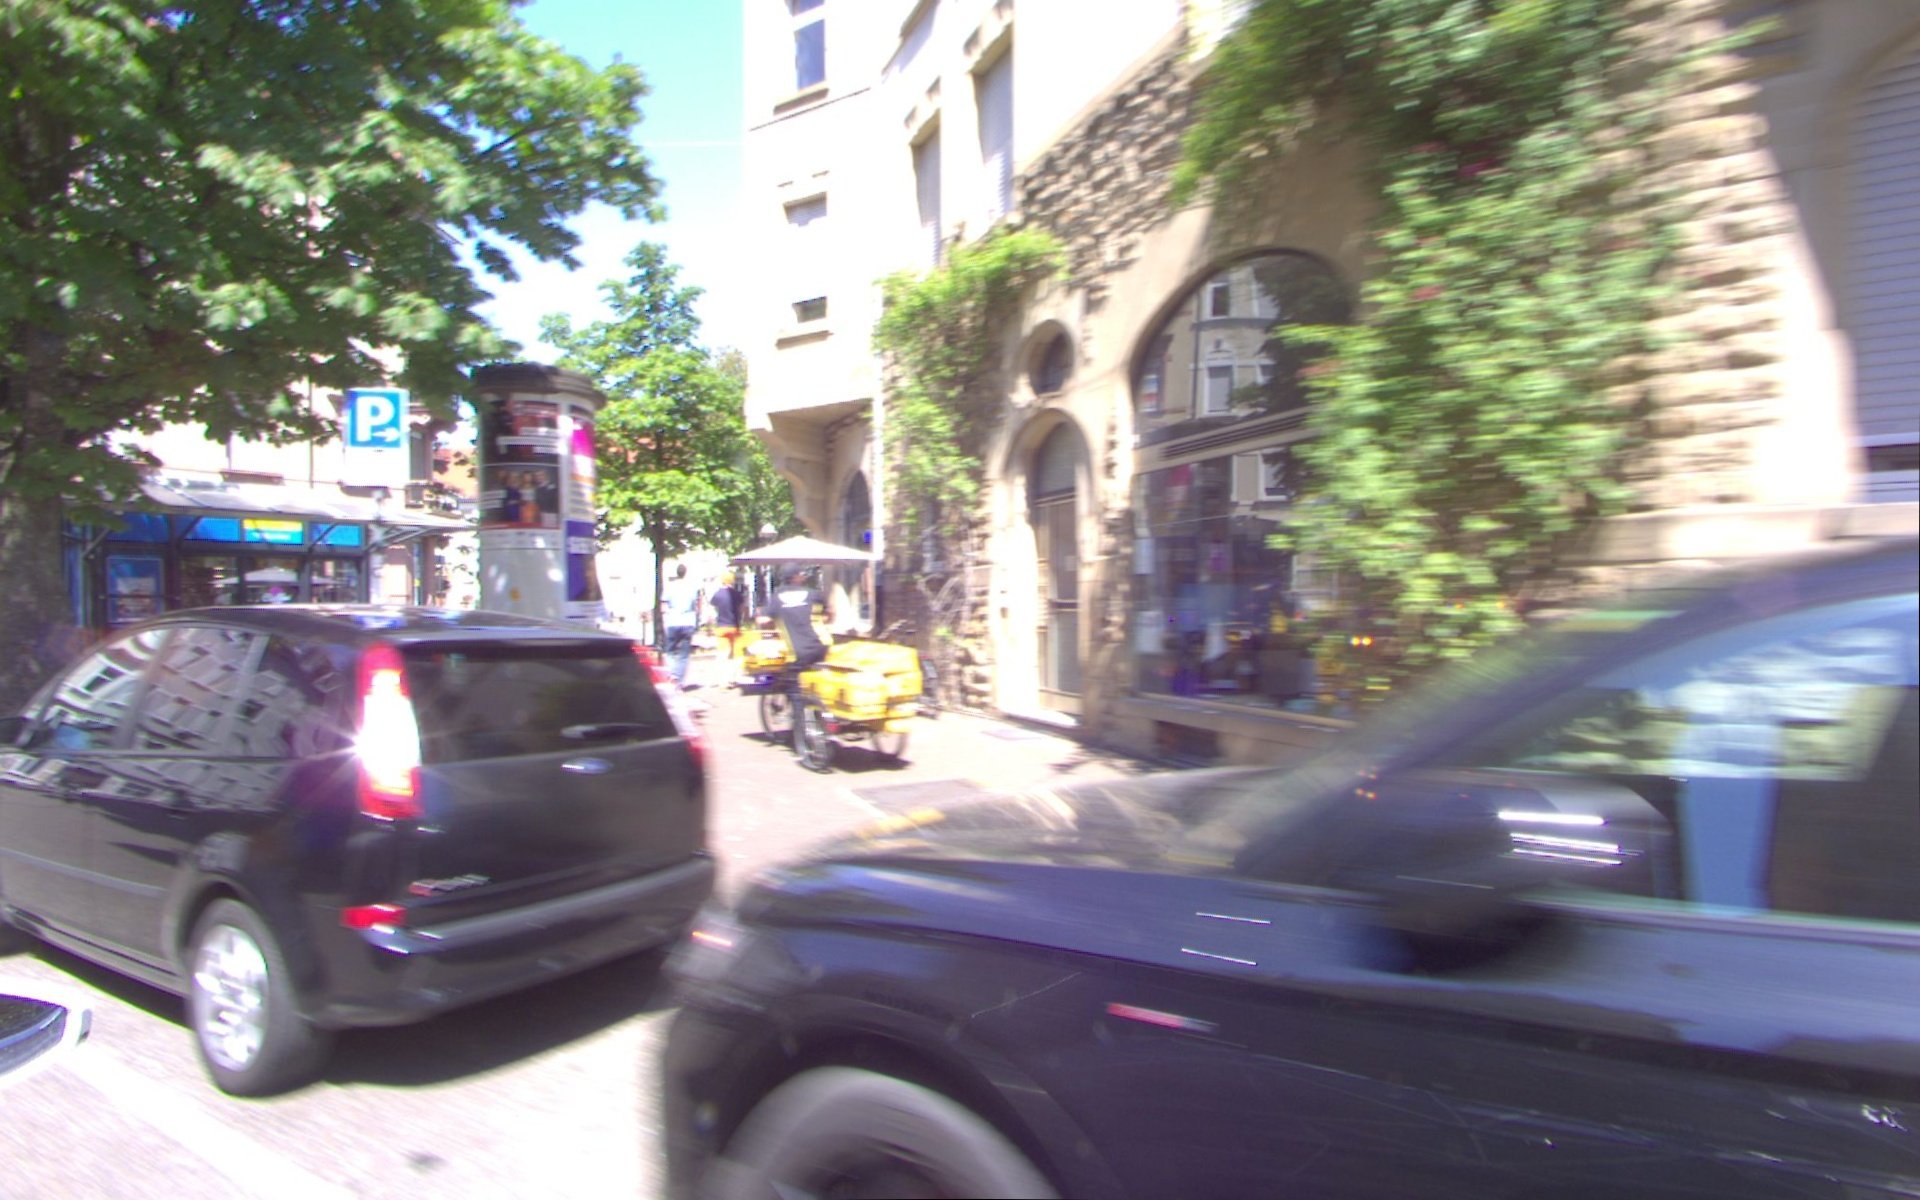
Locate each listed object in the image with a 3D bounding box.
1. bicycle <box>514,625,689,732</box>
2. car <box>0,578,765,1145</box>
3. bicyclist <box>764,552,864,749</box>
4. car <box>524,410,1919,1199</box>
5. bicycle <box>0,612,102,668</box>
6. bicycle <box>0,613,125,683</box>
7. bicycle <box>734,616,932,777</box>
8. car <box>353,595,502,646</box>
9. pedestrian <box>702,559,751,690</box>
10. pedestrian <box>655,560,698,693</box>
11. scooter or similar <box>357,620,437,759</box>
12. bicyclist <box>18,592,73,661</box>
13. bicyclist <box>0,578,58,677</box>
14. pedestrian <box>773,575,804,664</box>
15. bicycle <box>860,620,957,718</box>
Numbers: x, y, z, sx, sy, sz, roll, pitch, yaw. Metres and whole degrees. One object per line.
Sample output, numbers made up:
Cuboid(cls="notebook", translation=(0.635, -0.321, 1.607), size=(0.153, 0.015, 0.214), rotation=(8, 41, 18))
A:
Cuboid(cls="bicycle", translation=(-4.067, 0.851, 11.512), size=(0.625, 1.053, 1.895), rotation=(0, 1, 33))
Cuboid(cls="car", translation=(-2.998, 0.757, 4.569), size=(4.117, 1.560, 1.660), rotation=(0, -2, 32))
Cuboid(cls="bicyclist", translation=(-1.306, 0.426, 8.939), size=(0.670, 1.670, 0.658), rotation=(-1, 1, -30))
Cuboid(cls="car", translation=(1.403, 0.647, 1.739), size=(4.281, 1.617, 1.734), rotation=(0, -2, 29))
Cuboid(cls="bicycle", translation=(-20.994, 0.896, 23.057), size=(0.641, 1.225, 2.441), rotation=(0, -1, -7))
Cuboid(cls="bicycle", translation=(-17.094, 0.873, 18.592), size=(0.642, 1.244, 2.437), rotation=(0, -1, 20))
Cuboid(cls="bicycle", translation=(-1.220, 0.756, 8.926), size=(0.785, 1.185, 2.563), rotation=(-1, 1, -31))
Cuboid(cls="car", translation=(-17.431, 0.634, 32.933), size=(1.752, 1.526, 3.979), rotation=(0, 1, 31))
Cuboid(cls="pedestrian", translation=(-3.487, 0.360, 15.005), size=(0.589, 1.905, 0.882), rotation=(-1, 1, -6))
Cuboid(cls="pedestrian", translation=(-4.126, 0.378, 14.594), size=(0.510, 1.893, 0.653), rotation=(-1, 1, -9))
Cuboid(cls="scooter or similar", translation=(-5.115, 0.776, 9.147), size=(0.436, 1.152, 1.182), rotation=(-1, 1, -21))
Cuboid(cls="bicyclist", translation=(-20.990, 0.604, 22.995), size=(0.660, 1.553, 0.609), rotation=(-1, 1, -9))
Cuboid(cls="bicyclist", translation=(-17.171, 0.498, 18.425), size=(0.661, 1.783, 0.608), rotation=(0, -1, 22))
Cuboid(cls="pedestrian", translation=(-3.569, 0.404, 20.890), size=(0.572, 1.818, 0.749), rotation=(-1, 1, -6))
Cuboid(cls="bicycle", translation=(-0.661, 0.788, 12.132), size=(0.541, 1.053, 1.830), rotation=(-1, 1, -24))
